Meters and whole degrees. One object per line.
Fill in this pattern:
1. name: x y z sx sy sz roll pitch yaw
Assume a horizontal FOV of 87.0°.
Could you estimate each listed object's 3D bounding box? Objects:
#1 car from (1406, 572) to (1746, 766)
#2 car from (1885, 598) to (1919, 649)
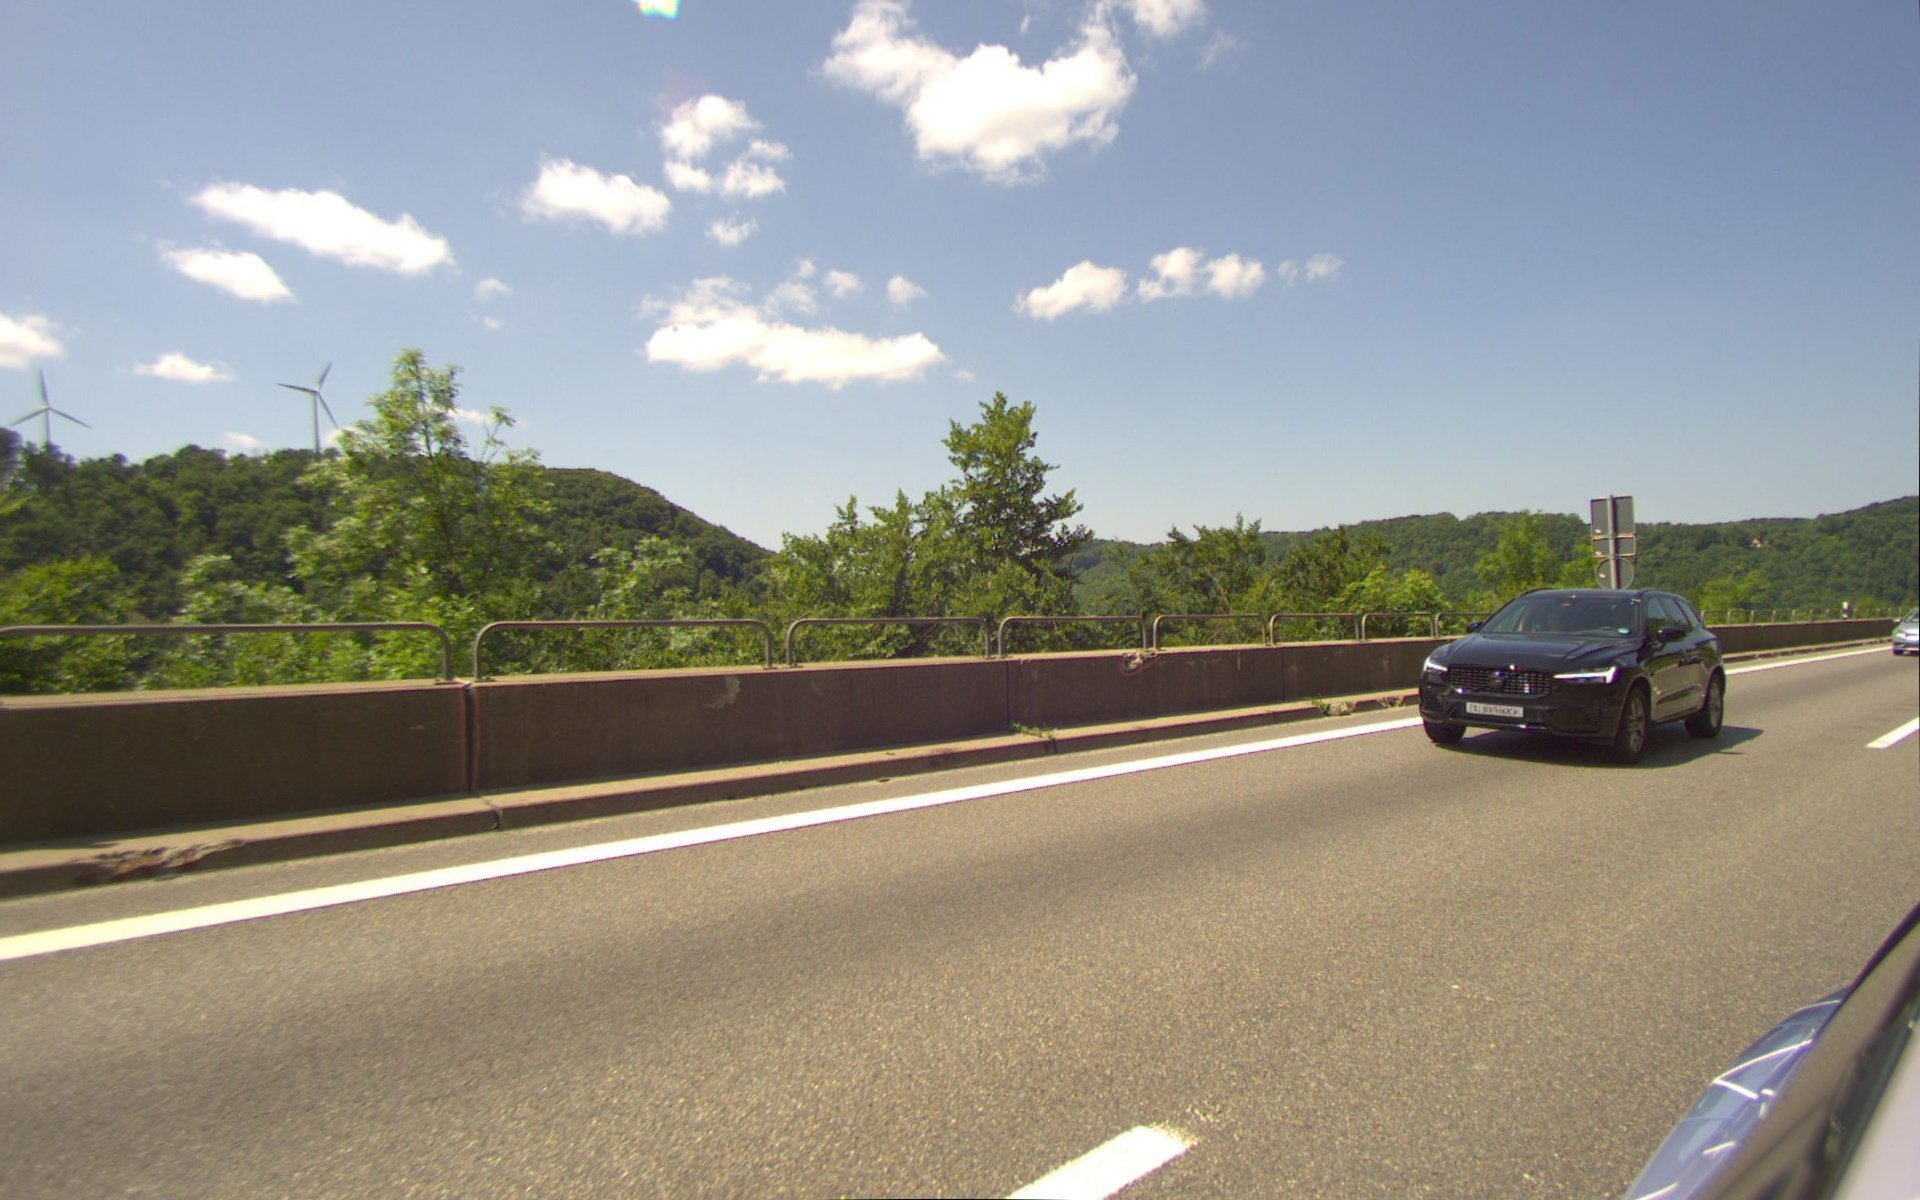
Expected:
1. car: 6.756 0.607 10.874 4.581 1.654 1.838 1 0 -41
2. car: 28.811 0.648 29.487 4.214 1.395 1.973 -1 -1 -37
